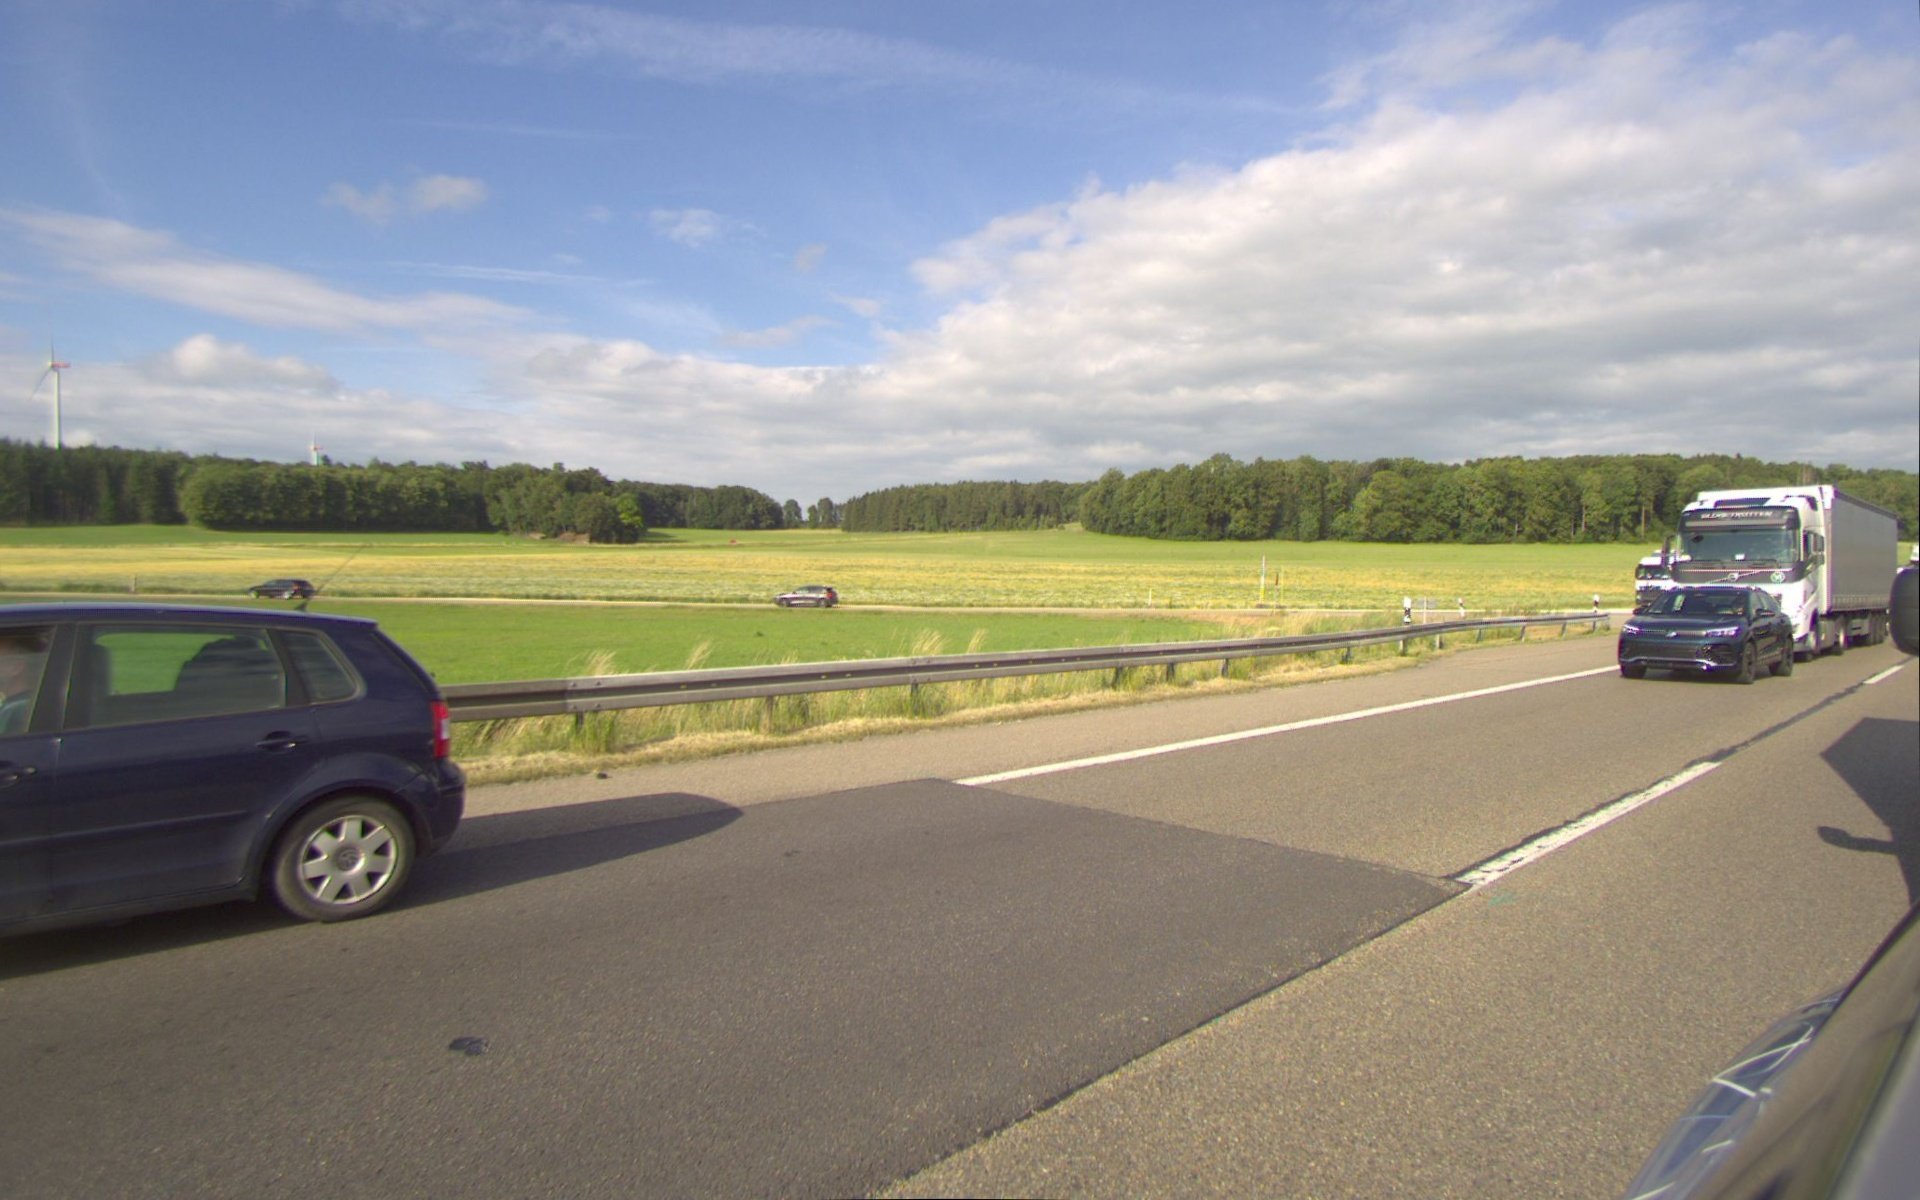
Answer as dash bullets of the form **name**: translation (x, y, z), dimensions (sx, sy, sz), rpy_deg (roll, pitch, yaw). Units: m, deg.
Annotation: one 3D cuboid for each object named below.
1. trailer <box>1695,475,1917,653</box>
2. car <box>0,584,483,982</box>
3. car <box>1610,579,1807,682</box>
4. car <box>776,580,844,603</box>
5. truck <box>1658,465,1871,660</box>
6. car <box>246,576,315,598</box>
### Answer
- **trailer**: translation (23.612, -0.878, 27.872), dimensions (11.916, 4.032, 2.824), rpy_deg (-1, 0, -41)
- **car**: translation (-4.235, 0.674, 4.260), dimensions (3.710, 1.464, 1.712), rpy_deg (-1, 1, -42)
- **car**: translation (13.372, 0.451, 18.007), dimensions (4.047, 1.616, 1.997), rpy_deg (-1, 1, -41)
- **car**: translation (-9.975, -0.557, 67.577), dimensions (4.154, 1.505, 1.832), rpy_deg (0, 0, 12)
- **truck**: translation (19.271, -0.816, 24.096), dimensions (6.387, 4.040, 2.840), rpy_deg (-1, 0, -41)
- **car**: translation (-49.639, -0.945, 73.984), dimensions (4.154, 1.505, 1.832), rpy_deg (0, 0, 12)
